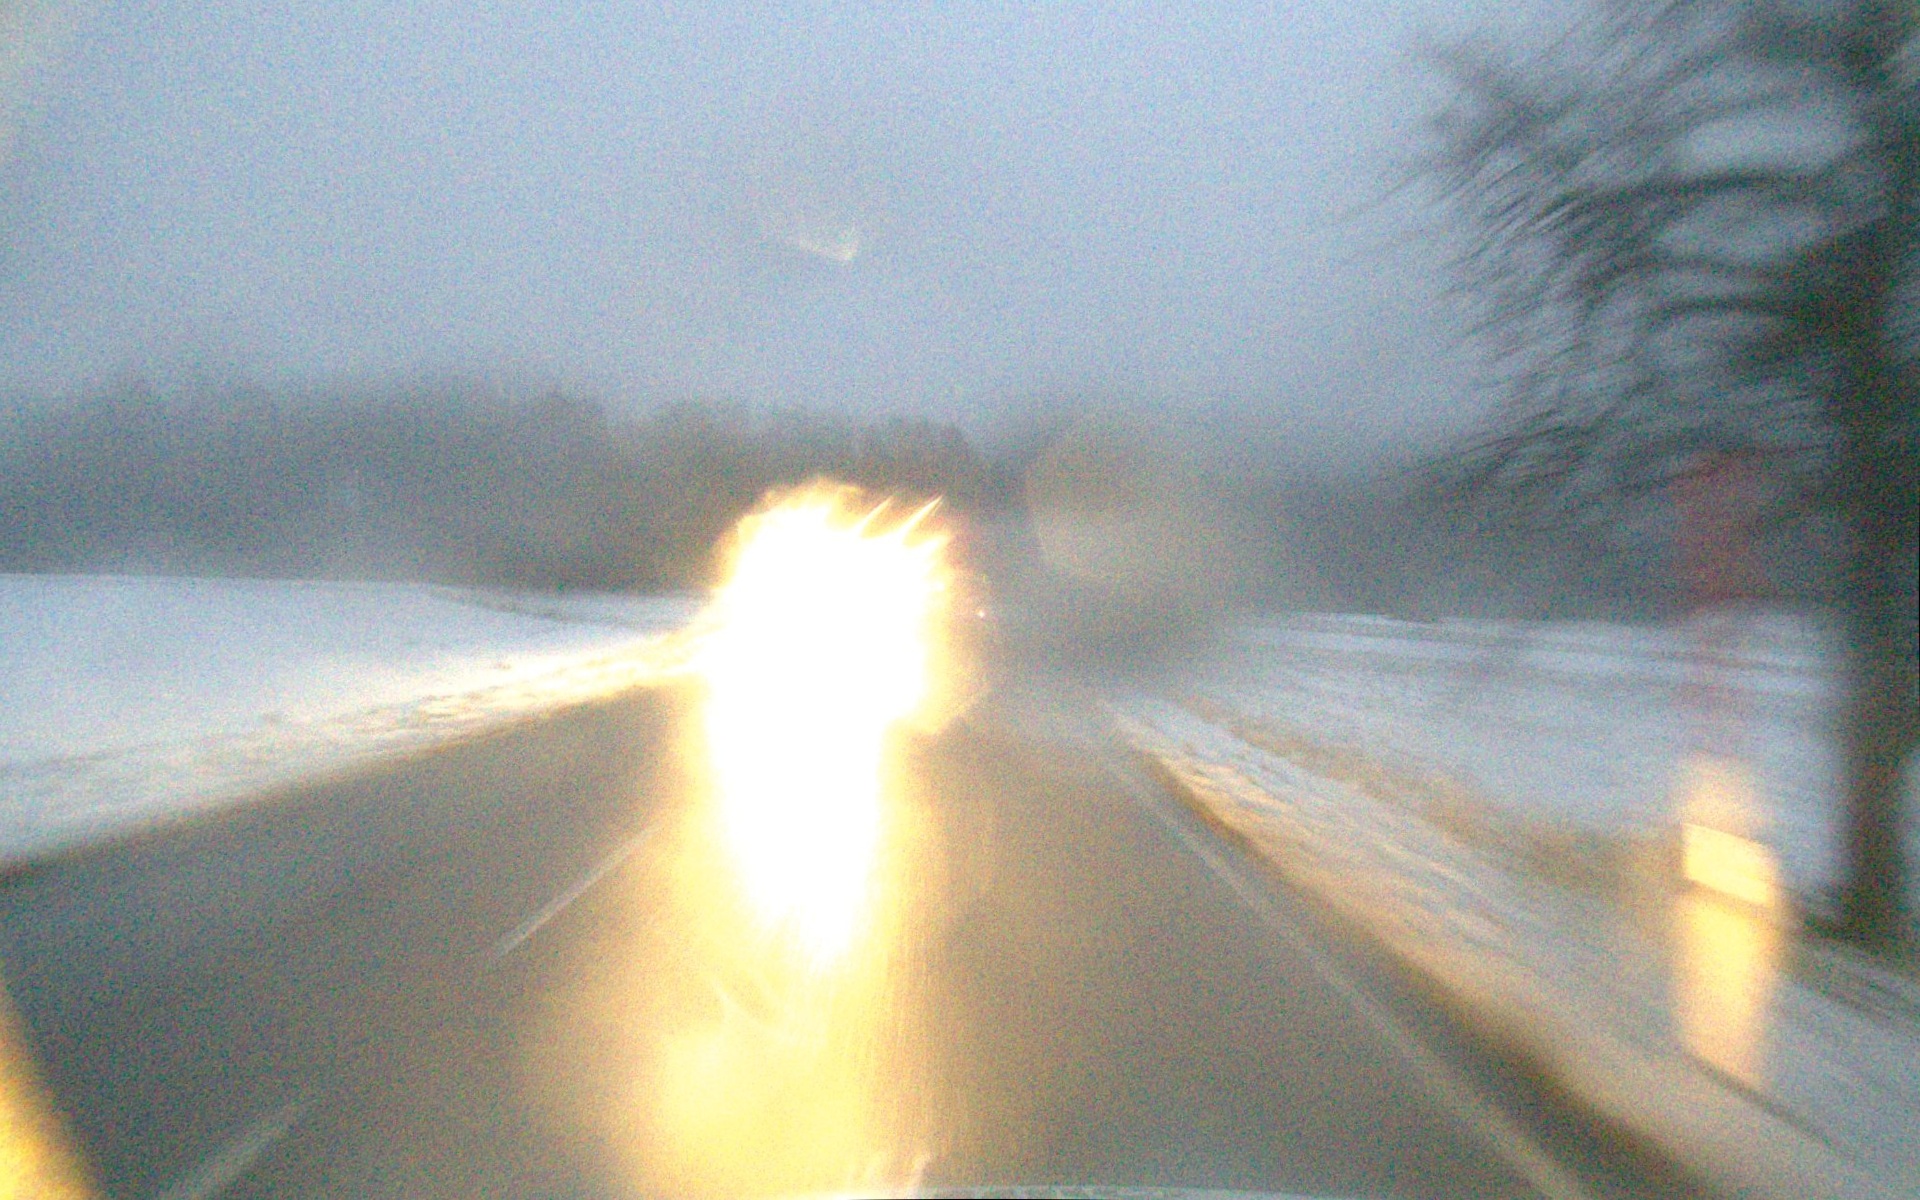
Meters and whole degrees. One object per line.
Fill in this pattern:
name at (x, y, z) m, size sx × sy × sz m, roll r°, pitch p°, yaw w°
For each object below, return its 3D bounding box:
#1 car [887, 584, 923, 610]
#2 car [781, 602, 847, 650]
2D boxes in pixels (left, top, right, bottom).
car at (-4.782, -0.257, 144.522) m, size 1.951 × 2.087 × 4.003 m, roll 2°, pitch 0°, yaw 14°
car at (-4.437, 0.776, 50.772) m, size 1.692 × 1.370 × 4.221 m, roll -2°, pitch 0°, yaw -1°
